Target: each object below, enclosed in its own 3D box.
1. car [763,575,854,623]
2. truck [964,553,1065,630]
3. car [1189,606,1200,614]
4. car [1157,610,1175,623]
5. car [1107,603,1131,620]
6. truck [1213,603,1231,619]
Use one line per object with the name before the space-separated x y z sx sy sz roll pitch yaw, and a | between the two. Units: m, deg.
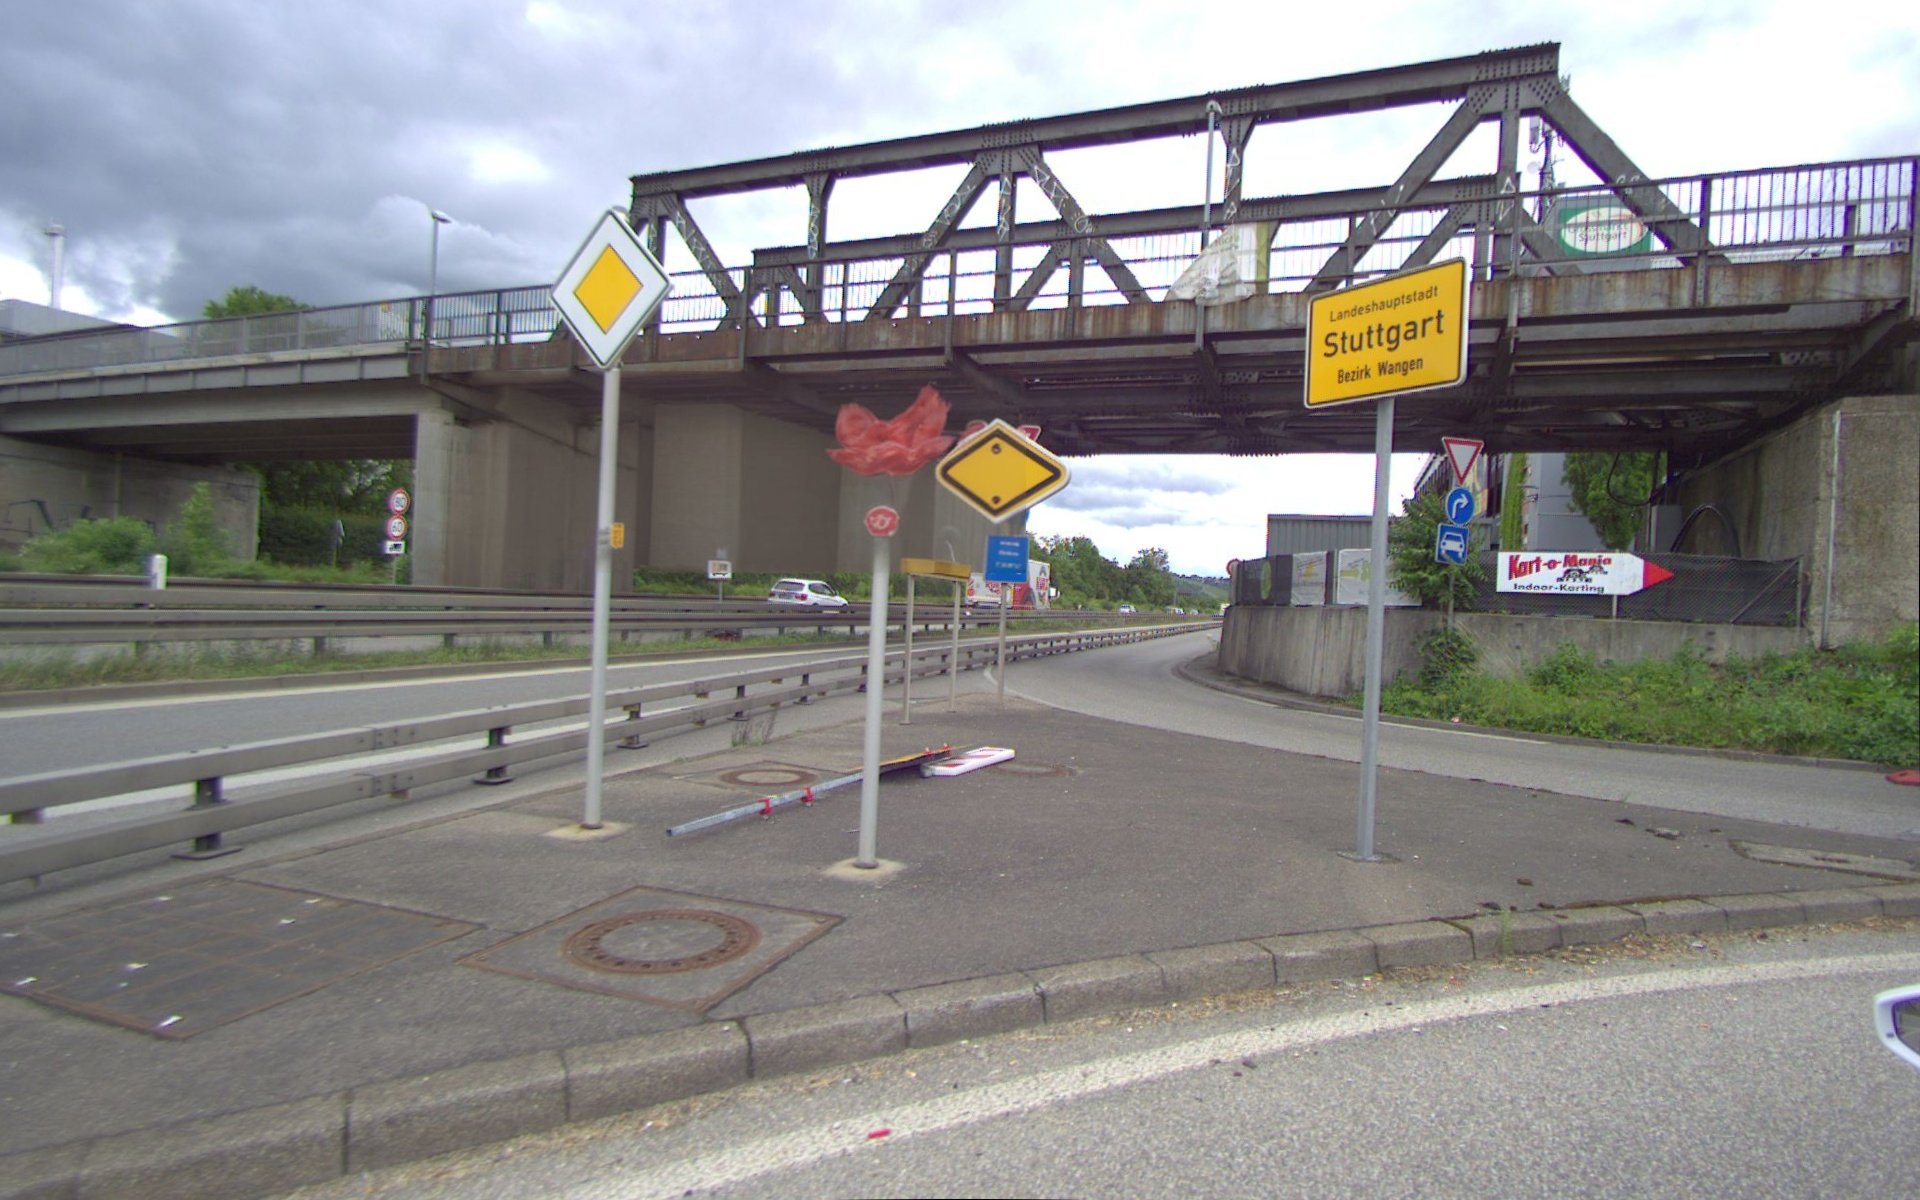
car | -6.032 0.003 40.398 1.823 1.662 4.293 4 0 17
truck | 3.187 -0.344 54.746 2.904 3.677 10.157 3 0 17
car | 47.313 2.002 202.928 1.750 1.617 3.750 2 0 19
car | 28.635 2.304 139.500 1.960 1.782 4.001 2 -1 17
car | 17.667 1.307 111.630 1.960 1.782 4.001 2 -1 19
truck | 64.709 2.684 248.036 3.658 3.693 7.728 3 0 19
